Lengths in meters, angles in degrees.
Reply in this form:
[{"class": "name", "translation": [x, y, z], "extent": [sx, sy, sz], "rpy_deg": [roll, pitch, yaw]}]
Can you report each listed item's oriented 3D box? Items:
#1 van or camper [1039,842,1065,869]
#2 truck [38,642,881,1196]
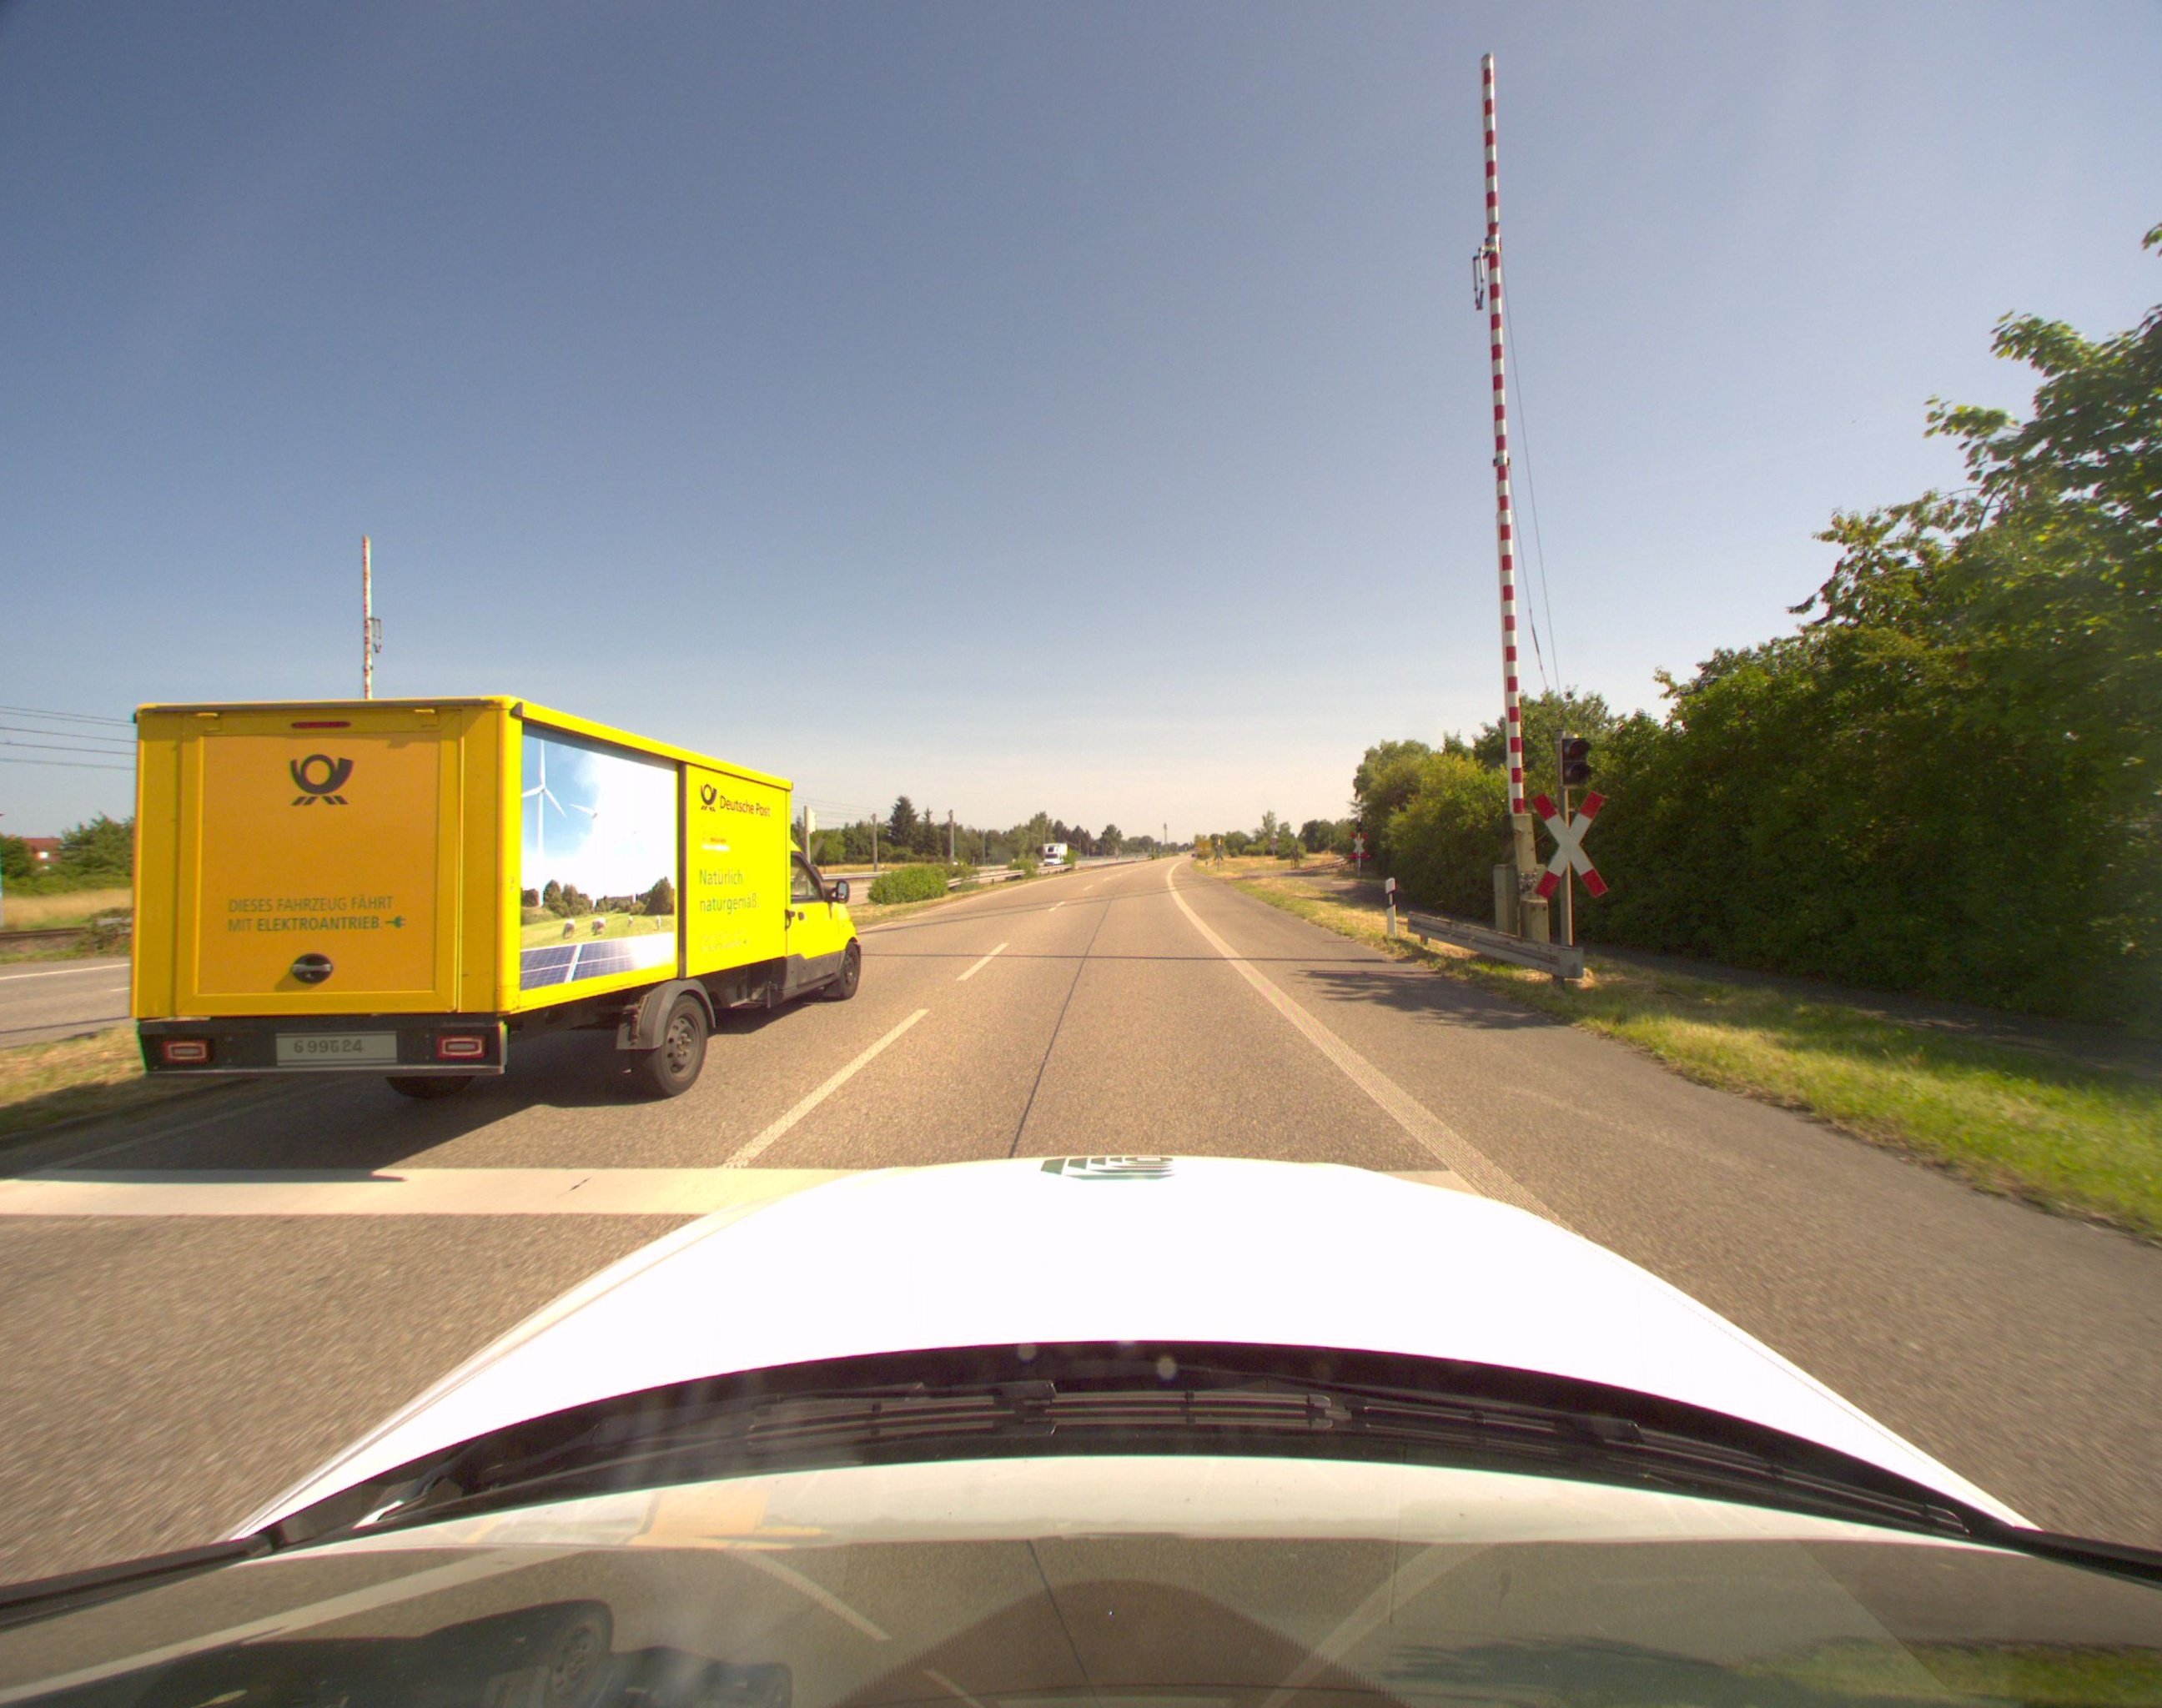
[{"class": "van or camper", "translation": [-4.171, 0.182, 120.144], "extent": [2.864, 3.680, 8.652], "rpy_deg": [-2, 0, 4]}, {"class": "truck", "translation": [-3.525, 0.297, 6.602], "extent": [2.103, 2.457, 5.920], "rpy_deg": [-1, 0, 2]}]
